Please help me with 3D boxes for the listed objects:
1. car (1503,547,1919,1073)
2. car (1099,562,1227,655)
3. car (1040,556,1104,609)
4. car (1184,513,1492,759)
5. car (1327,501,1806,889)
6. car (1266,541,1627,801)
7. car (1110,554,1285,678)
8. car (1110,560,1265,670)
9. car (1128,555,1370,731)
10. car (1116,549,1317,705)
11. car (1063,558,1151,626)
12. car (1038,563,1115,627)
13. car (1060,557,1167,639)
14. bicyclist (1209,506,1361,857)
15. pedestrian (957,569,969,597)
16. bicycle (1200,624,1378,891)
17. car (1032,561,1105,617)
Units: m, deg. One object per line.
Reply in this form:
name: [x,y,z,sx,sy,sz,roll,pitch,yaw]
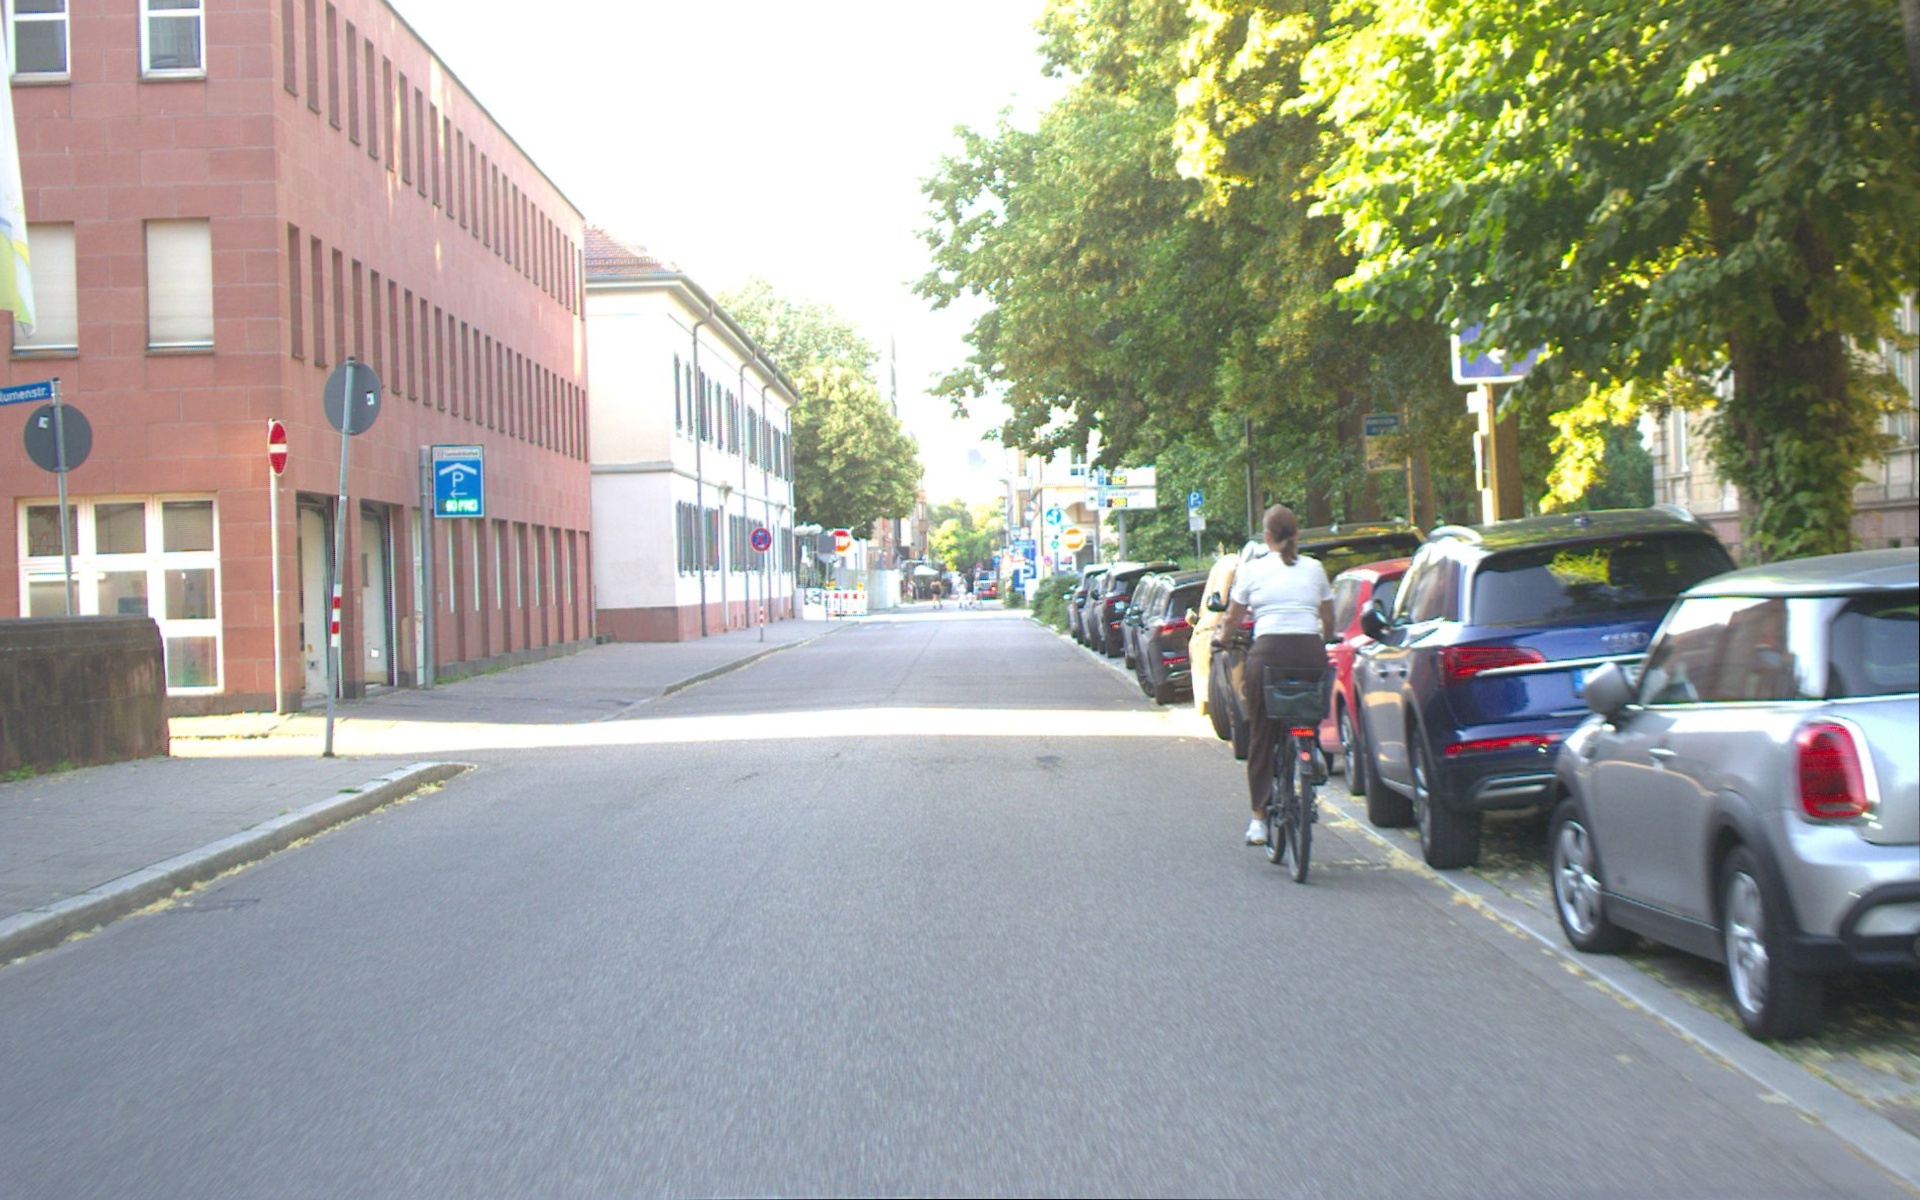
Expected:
car: [3.045,0.562,11.550,1.685,1.442,3.672,-4,0,-1]
car: [3.682,0.128,62.892,1.993,1.579,4.000,-2,1,-1]
car: [4.856,-0.777,149.551,2.493,2.188,4.910,-2,1,-1]
car: [3.030,0.258,28.360,1.993,1.809,4.000,-2,1,-1]
car: [3.005,0.410,17.926,1.715,1.706,4.473,-2,1,1]
car: [3.179,0.417,23.215,1.715,1.532,4.049,-2,1,-1]
car: [3.177,0.187,46.653,1.993,1.525,4.000,-2,1,-1]
car: [3.416,0.202,52.348,1.993,1.525,4.000,-2,1,-1]
car: [2.833,0.386,34.559,1.993,1.590,4.000,-2,1,-1]
car: [3.013,0.291,41.147,1.993,1.700,4.000,-2,1,-1]
car: [3.743,-0.213,88.177,1.993,1.623,4.000,-2,1,-1]
car: [3.339,-0.157,99.264,1.993,1.743,4.000,-2,1,-1]
car: [3.251,-0.058,73.588,1.993,1.623,4.000,-2,1,-1]
bicyclist: [1.569,0.384,16.703,0.639,1.662,0.843,0,0,-1]
pedestrian: [0.149,-0.900,179.825,0.534,1.467,0.449,-2,1,-1]
bicycle: [1.573,0.726,16.681,0.638,1.189,1.876,0,1,-1]
car: [3.800,-0.401,121.465,2.281,1.848,4.910,-2,1,-1]
